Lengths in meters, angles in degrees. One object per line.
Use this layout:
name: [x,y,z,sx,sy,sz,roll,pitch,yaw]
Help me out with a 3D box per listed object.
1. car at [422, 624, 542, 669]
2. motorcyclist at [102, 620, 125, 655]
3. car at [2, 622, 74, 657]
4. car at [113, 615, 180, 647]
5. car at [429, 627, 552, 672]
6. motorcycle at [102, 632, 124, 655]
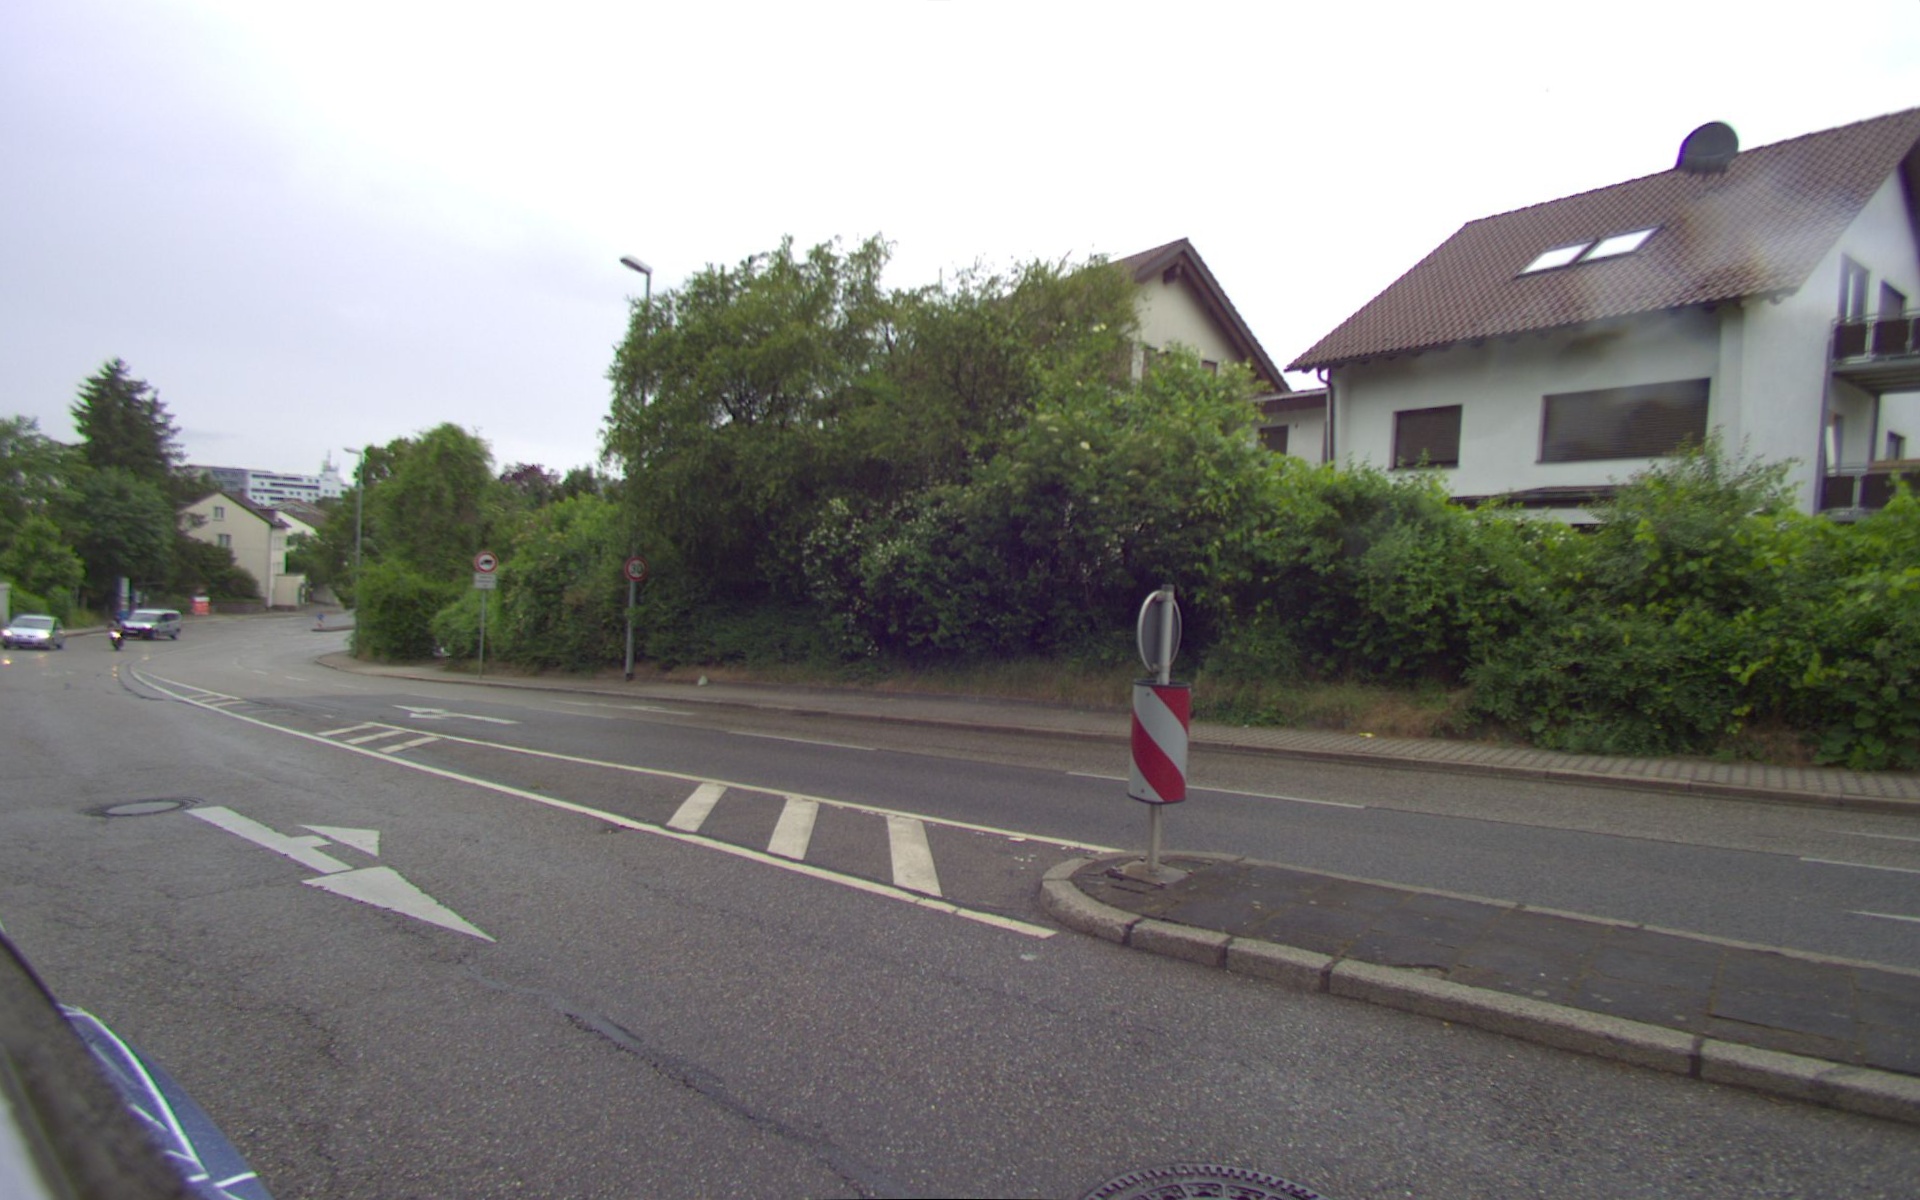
car: [-19.359,1.837,41.038,3.939,1.548,2.002,-3,1,-42]
motorcyclist: [-41.927,1.858,50.133,0.755,1.655,0.676,5,-4,-39]
car: [-42.494,1.793,46.709,1.789,1.450,4.010,6,-4,-34]
car: [-49.973,1.955,62.250,1.748,1.788,4.012,4,-4,-18]
car: [-17.867,1.843,38.597,3.853,1.451,1.814,-3,1,-41]
motorcycle: [-42.014,2.152,50.201,0.682,1.061,1.751,5,-3,-37]
